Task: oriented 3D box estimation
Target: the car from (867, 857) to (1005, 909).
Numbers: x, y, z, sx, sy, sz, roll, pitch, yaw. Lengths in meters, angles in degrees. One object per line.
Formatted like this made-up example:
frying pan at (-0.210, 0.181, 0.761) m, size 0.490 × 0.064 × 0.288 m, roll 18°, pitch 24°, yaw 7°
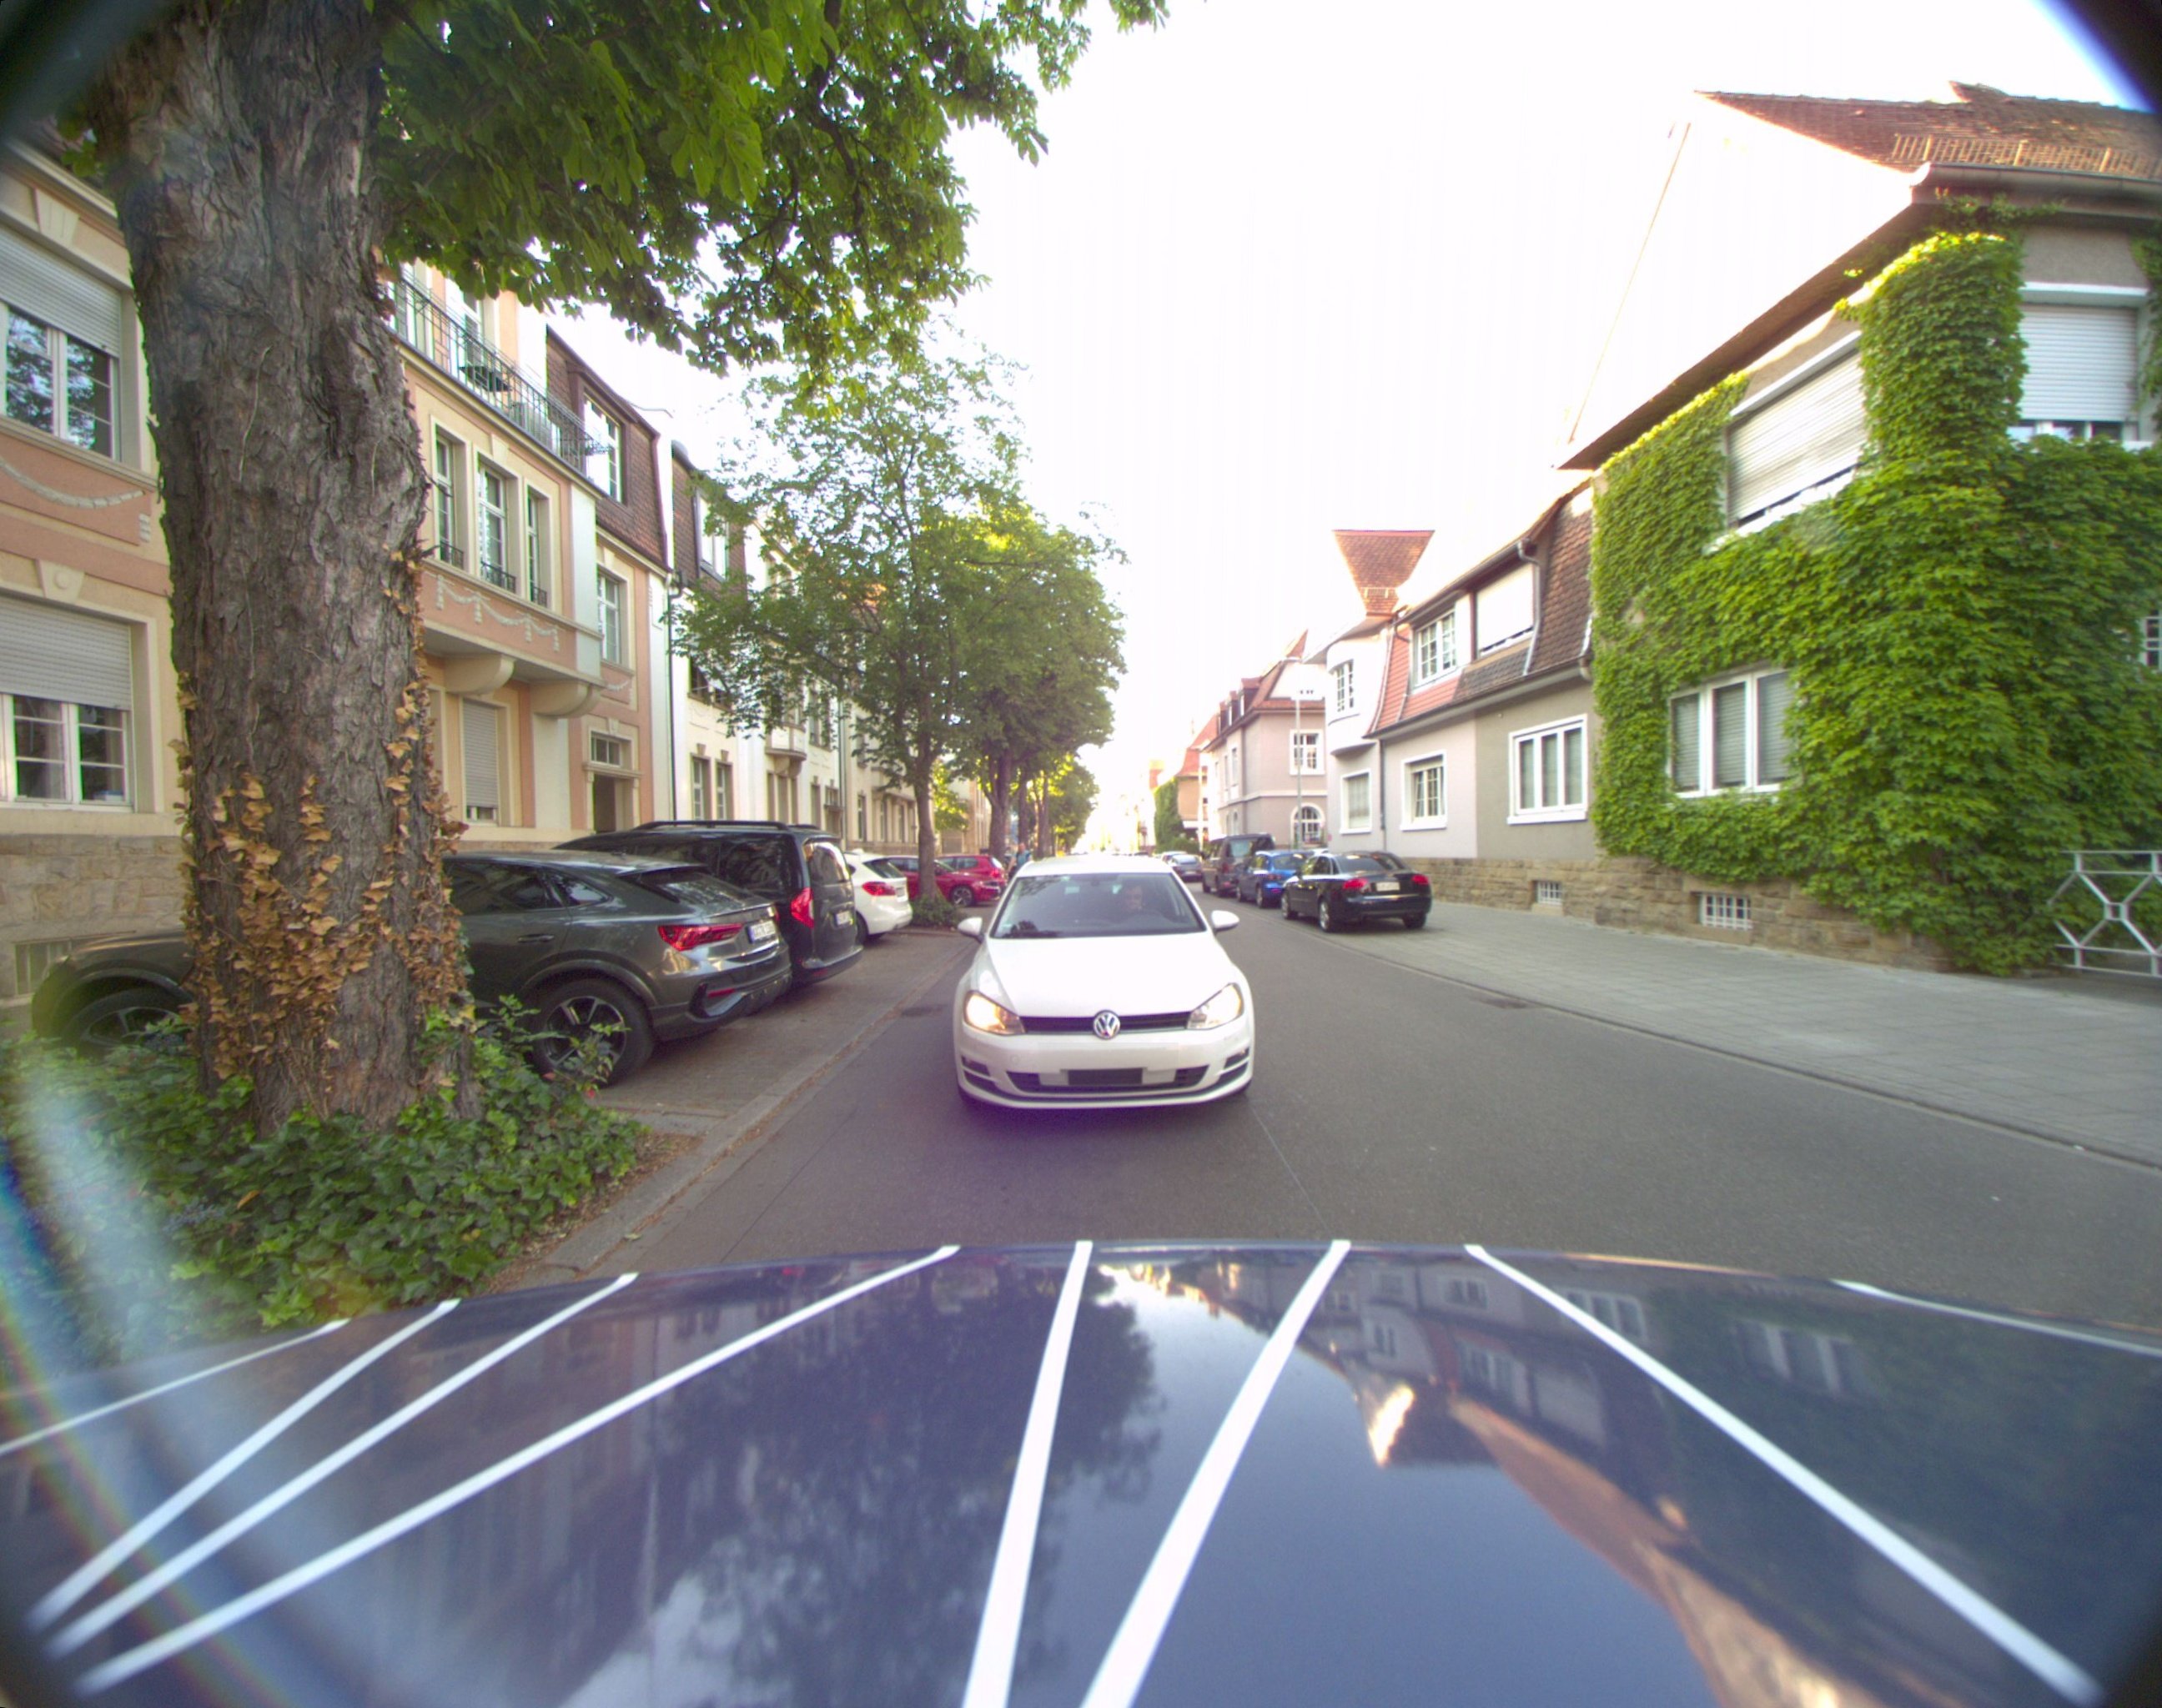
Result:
car at (-4.091, 0.798, 21.764) m, size 3.622 × 1.395 × 1.537 m, roll 1°, pitch 1°, yaw 0°

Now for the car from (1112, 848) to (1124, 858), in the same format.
car at (5.678, -0.186, 115.806) m, size 1.643 × 1.461 × 3.689 m, roll -3°, pitch 0°, yaw 0°

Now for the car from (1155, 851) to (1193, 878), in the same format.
car at (5.100, 0.538, 42.197) m, size 1.541 × 1.363 × 3.945 m, roll -3°, pitch 0°, yaw 0°

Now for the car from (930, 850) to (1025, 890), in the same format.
car at (-4.170, 0.630, 30.945) m, size 3.622 × 1.555 × 1.537 m, roll 0°, pitch 1°, yaw 0°

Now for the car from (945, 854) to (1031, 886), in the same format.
car at (-4.138, 0.716, 34.137) m, size 3.622 × 1.395 × 1.537 m, roll 0°, pitch 1°, yaw 0°

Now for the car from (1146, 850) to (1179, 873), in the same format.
car at (5.377, 0.461, 50.715) m, size 1.719 × 1.363 × 3.945 m, roll -3°, pitch 0°, yaw 0°

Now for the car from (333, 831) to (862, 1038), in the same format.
car at (-4.490, 0.709, 7.576) m, size 4.173 × 1.816 × 1.594 m, roll 1°, pitch 1°, yaw -4°

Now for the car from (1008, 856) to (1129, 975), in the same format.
car at (-0.136, 0.832, 12.178) m, size 1.600 × 1.546 × 4.000 m, roll 1°, pitch 0°, yaw 1°

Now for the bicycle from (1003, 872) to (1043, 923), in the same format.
bicycle at (-1.397, 1.031, 18.679) m, size 0.744 × 1.111 × 2.013 m, roll -2°, pitch 0°, yaw 1°

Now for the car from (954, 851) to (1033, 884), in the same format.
car at (-4.198, 0.635, 36.881) m, size 3.622 × 1.555 × 1.537 m, roll 0°, pitch 1°, yaw 0°

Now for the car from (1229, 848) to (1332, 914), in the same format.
car at (5.223, 0.642, 20.384) m, size 1.611 × 1.455 × 4.023 m, roll -4°, pitch 1°, yaw 0°

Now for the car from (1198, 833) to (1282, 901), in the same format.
car at (5.158, 0.351, 25.223) m, size 1.719 × 1.961 × 4.310 m, roll -4°, pitch 1°, yaw 0°

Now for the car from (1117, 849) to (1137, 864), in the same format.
car at (4.886, 0.224, 80.914) m, size 1.643 × 1.461 × 3.688 m, roll -3°, pitch 0°, yaw -4°

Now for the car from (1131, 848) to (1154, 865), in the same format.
car at (5.494, 0.195, 68.253) m, size 1.643 × 1.461 × 3.945 m, roll -3°, pitch 0°, yaw 0°

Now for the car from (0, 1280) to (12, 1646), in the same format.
car at (-4.662, 0.787, 0.516) m, size 4.835 × 1.814 × 1.880 m, roll 1°, pitch 1°, yaw -4°

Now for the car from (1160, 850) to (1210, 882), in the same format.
car at (4.983, 0.550, 36.856) m, size 1.719 × 1.363 × 4.334 m, roll -3°, pitch 0°, yaw 0°

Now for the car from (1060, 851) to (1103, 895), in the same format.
car at (0.044, 0.674, 29.313) m, size 1.560 × 1.546 × 3.738 m, roll 1°, pitch 0°, yaw 1°

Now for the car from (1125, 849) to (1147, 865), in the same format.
car at (5.411, 0.254, 75.383) m, size 1.643 × 1.461 × 3.688 m, roll -3°, pitch 0°, yaw -4°

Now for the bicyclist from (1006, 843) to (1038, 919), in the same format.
bicyclist at (-1.419, 0.635, 18.445) m, size 0.648 × 1.765 × 0.830 m, roll -2°, pitch 1°, yaw 1°

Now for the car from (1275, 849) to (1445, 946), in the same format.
car at (5.077, 0.709, 14.443) m, size 1.751 × 1.421 × 4.023 m, roll -4°, pitch 1°, yaw 1°

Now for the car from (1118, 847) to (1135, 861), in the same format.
car at (5.446, -0.016, 91.143) m, size 1.643 × 1.461 × 3.689 m, roll -3°, pitch 0°, yaw -1°

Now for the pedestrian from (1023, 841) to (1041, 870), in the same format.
pedestrian at (-3.515, 0.119, 54.160) m, size 1.189 × 2.002 × 0.931 m, roll 1°, pitch 1°, yaw 0°

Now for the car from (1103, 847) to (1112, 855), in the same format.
car at (5.235, -0.540, 149.212) m, size 1.643 × 1.461 × 3.689 m, roll -3°, pitch 0°, yaw 0°

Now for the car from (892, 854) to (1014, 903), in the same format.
car at (-4.042, 0.758, 24.341) m, size 3.622 × 1.456 × 1.537 m, roll 1°, pitch 1°, yaw 0°

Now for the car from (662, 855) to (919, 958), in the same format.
car at (-4.589, 0.817, 12.399) m, size 3.623 × 1.541 × 1.537 m, roll 1°, pitch 1°, yaw -4°

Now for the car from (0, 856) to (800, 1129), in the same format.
car at (-4.378, 0.845, 5.414) m, size 4.173 × 1.583 × 1.594 m, roll 1°, pitch 1°, yaw -4°

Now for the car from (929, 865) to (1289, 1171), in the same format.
car at (0.109, 0.876, 5.928) m, size 1.799 × 1.420 × 4.023 m, roll -2°, pitch 0°, yaw -1°
